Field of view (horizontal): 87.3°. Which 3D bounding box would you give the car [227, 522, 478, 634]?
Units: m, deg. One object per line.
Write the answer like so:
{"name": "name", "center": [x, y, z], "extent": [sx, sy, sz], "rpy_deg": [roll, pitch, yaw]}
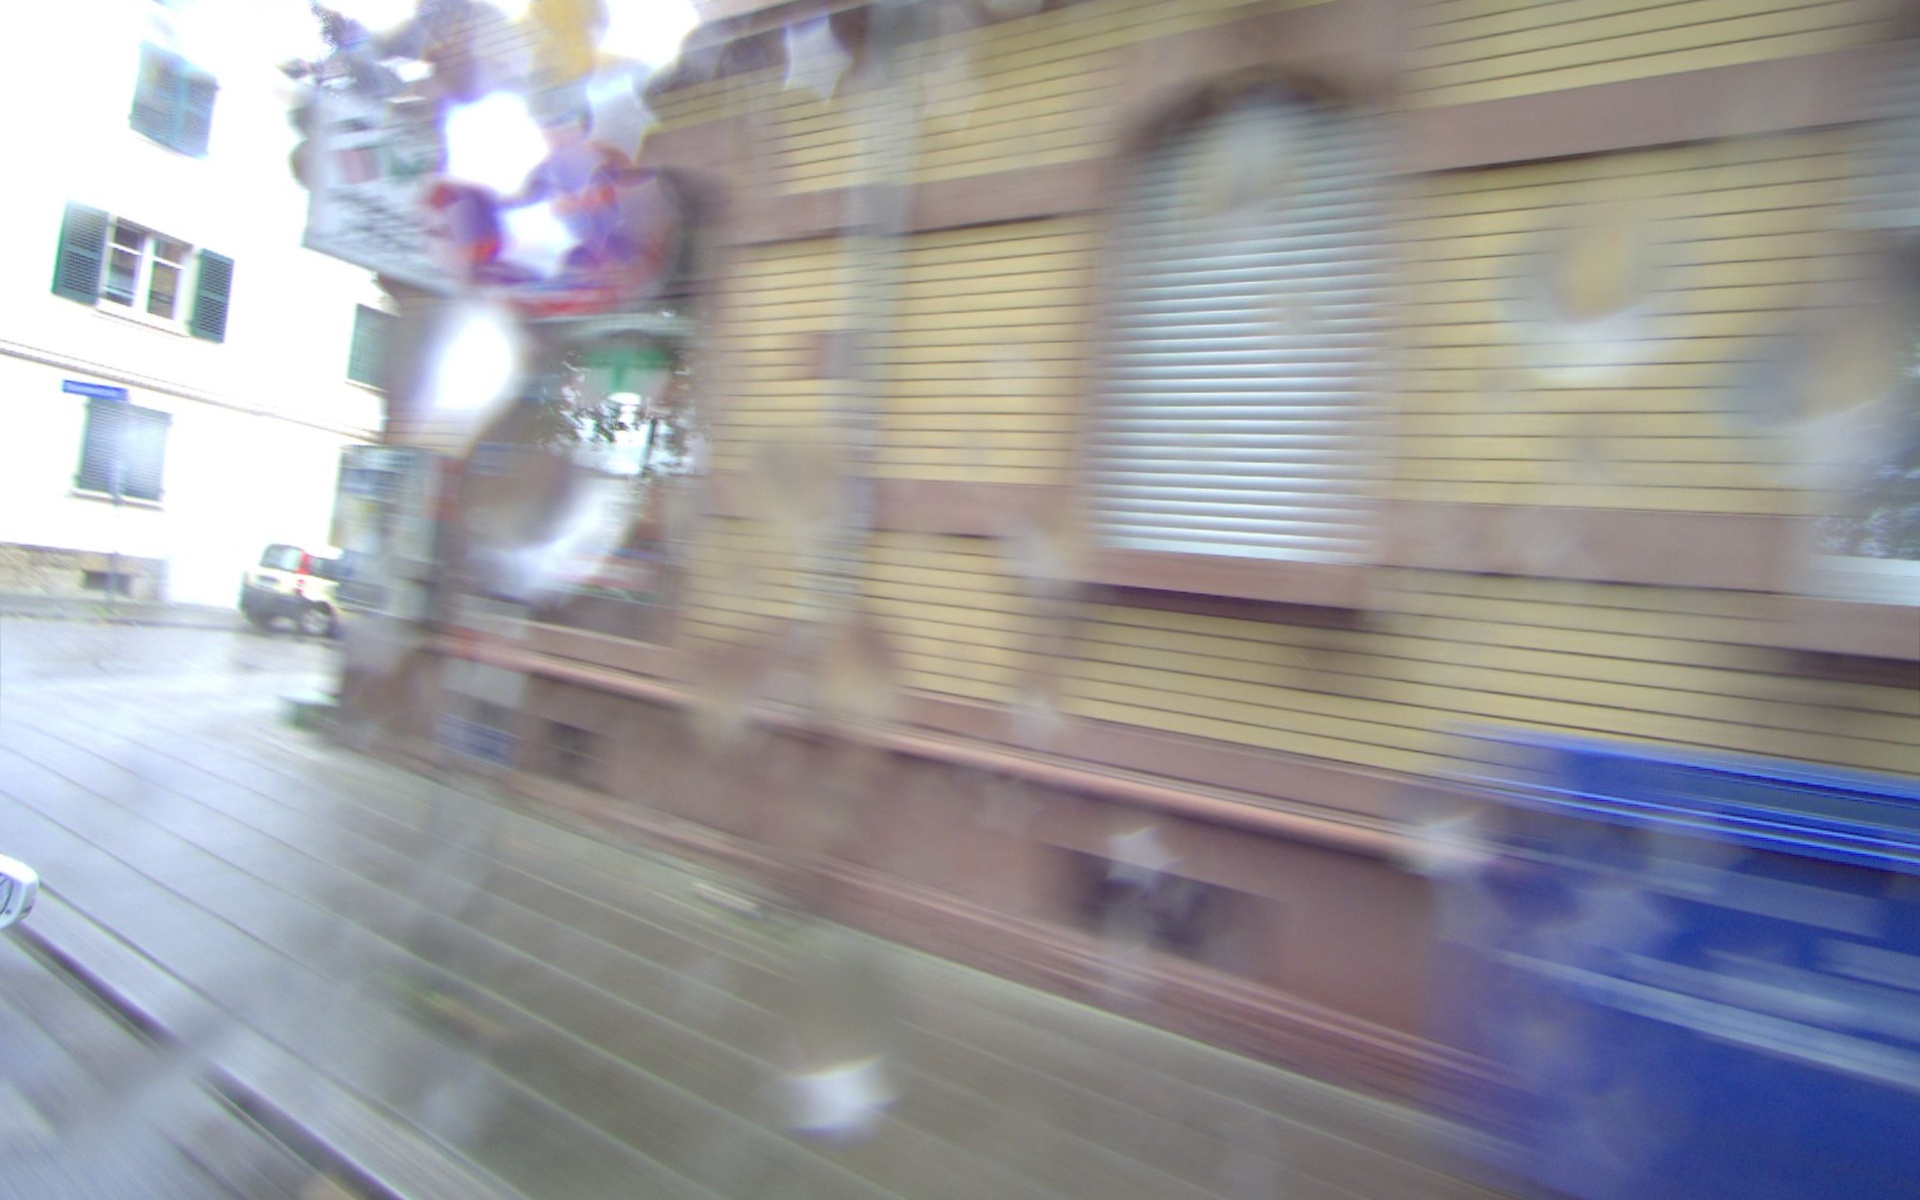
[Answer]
{"name": "car", "center": [-10.732, -0.327, 18.015], "extent": [1.686, 1.504, 3.367], "rpy_deg": [7, -2, 24]}

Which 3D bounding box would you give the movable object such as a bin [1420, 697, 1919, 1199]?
{"name": "movable object such as a bin", "center": [1.990, 1.025, 2.488], "extent": [1.344, 1.319, 1.021], "rpy_deg": [8, 3, 31]}
